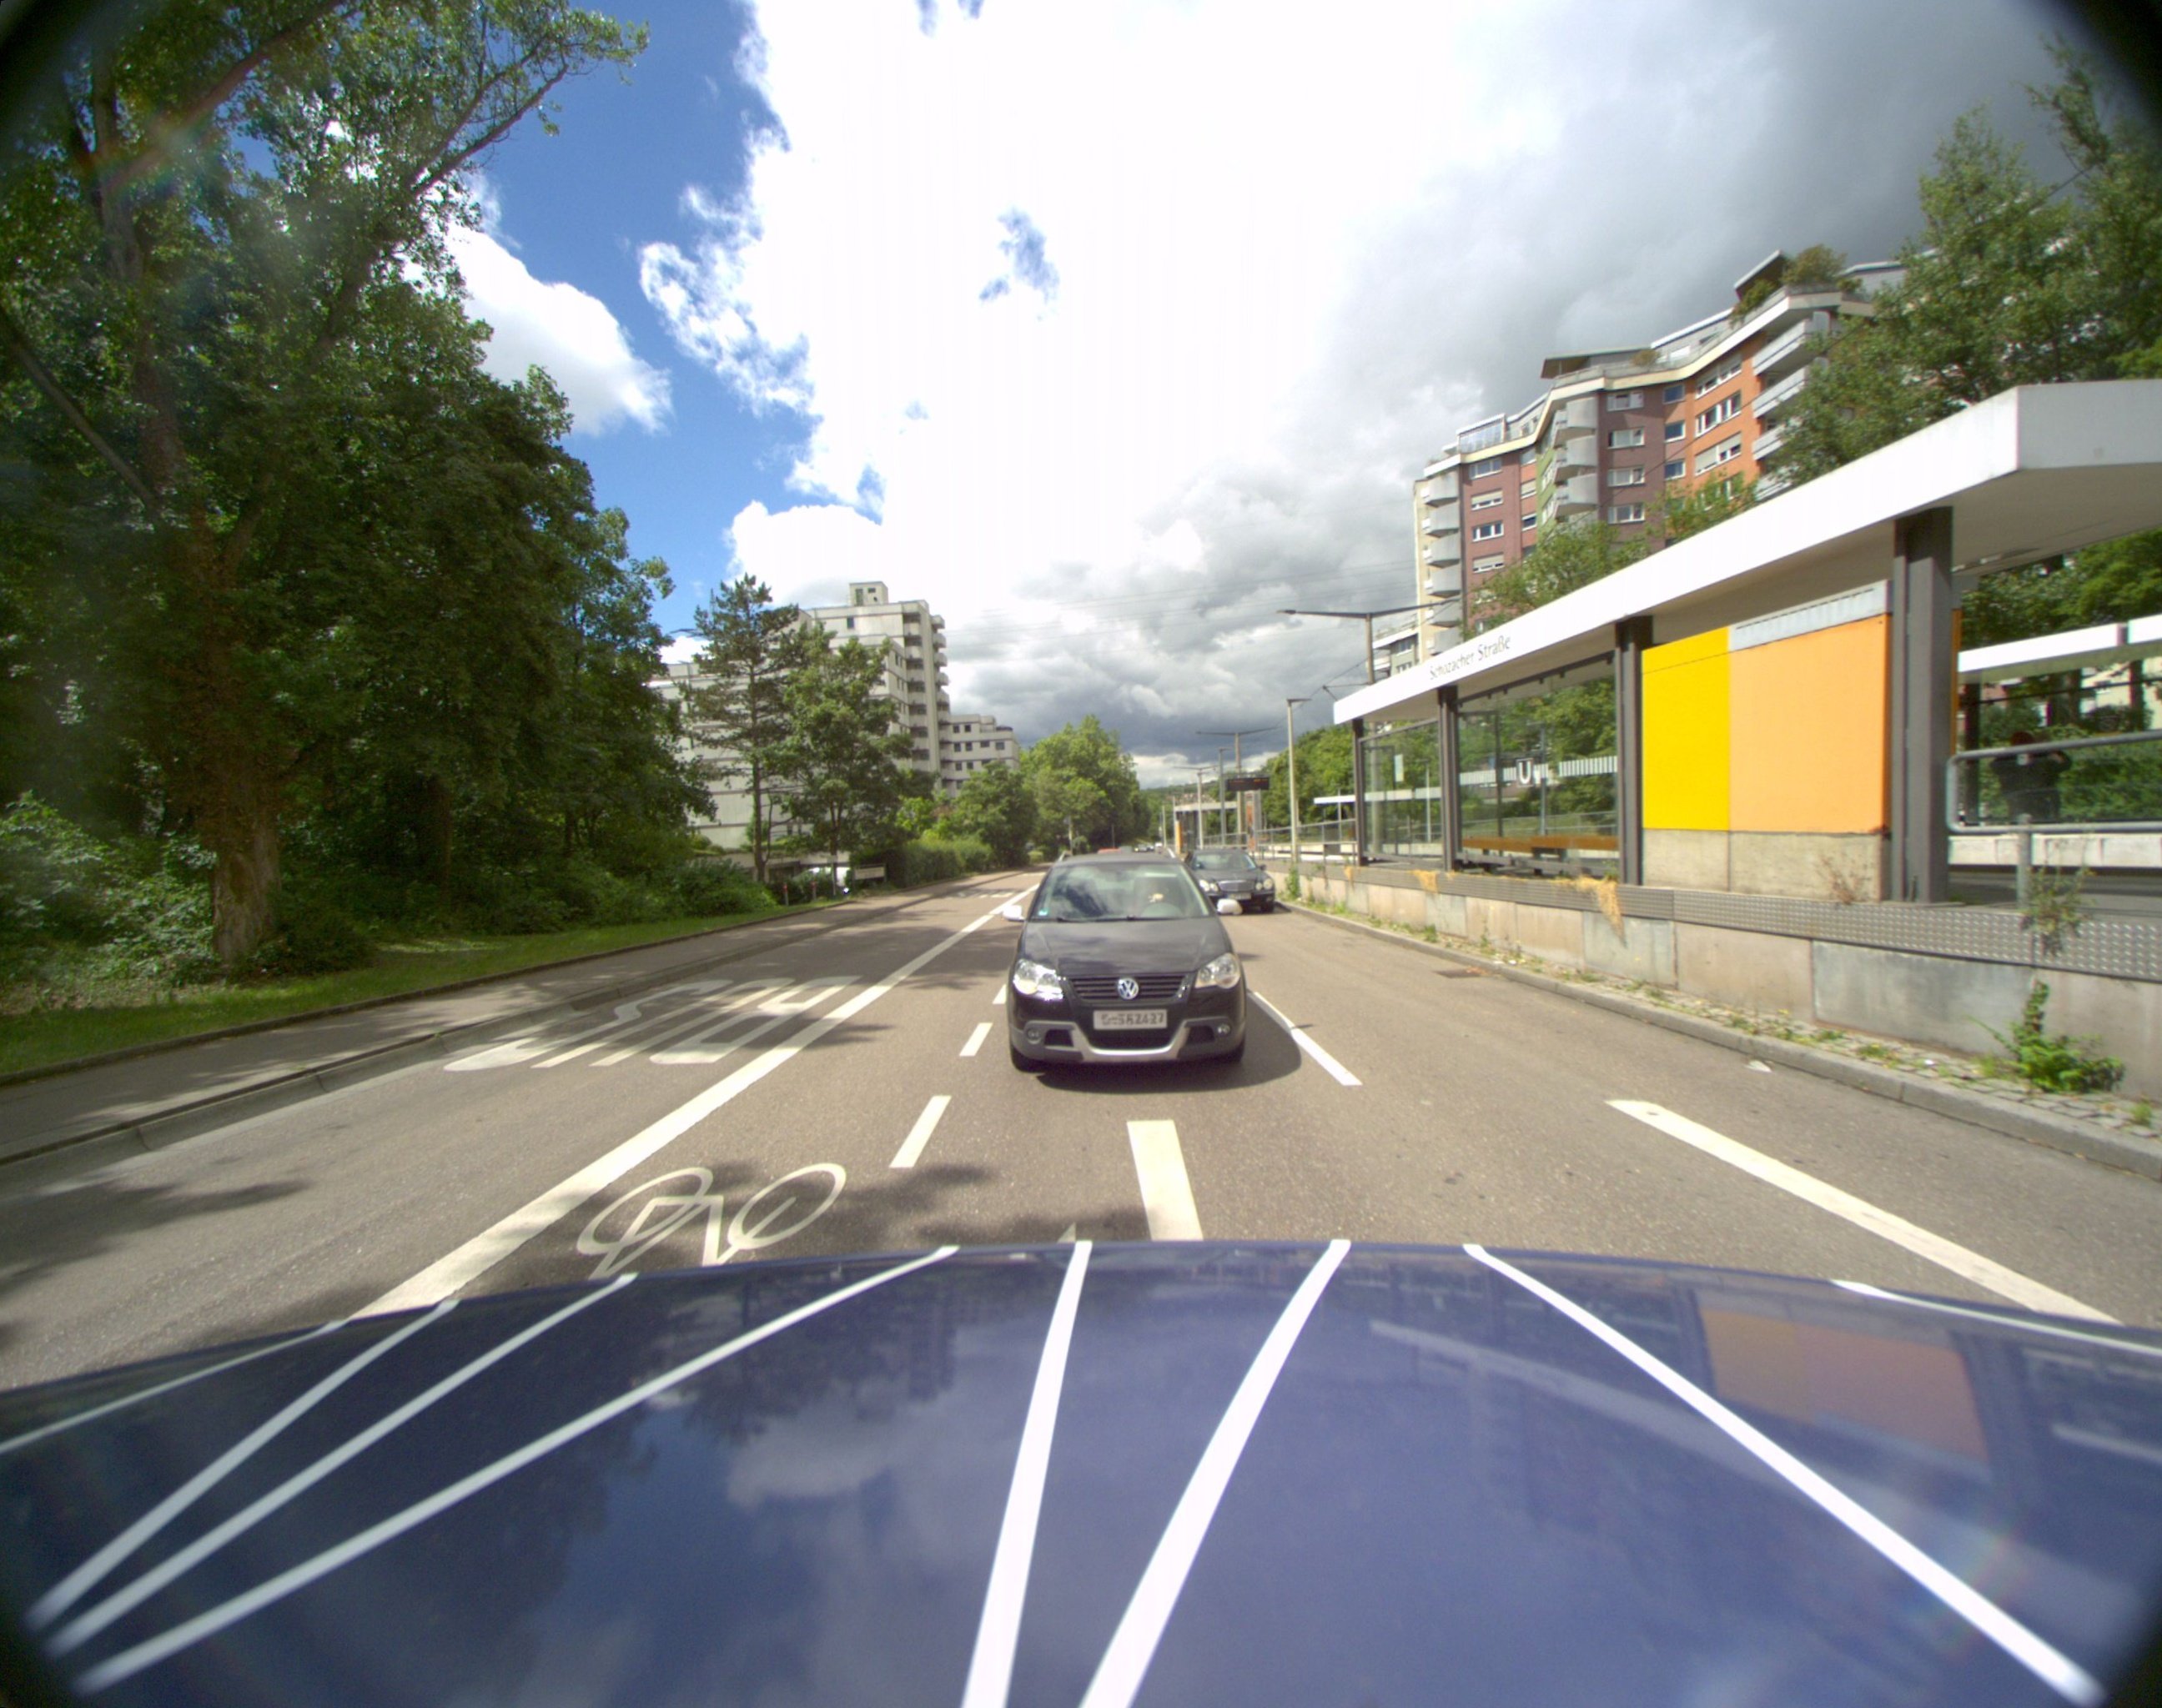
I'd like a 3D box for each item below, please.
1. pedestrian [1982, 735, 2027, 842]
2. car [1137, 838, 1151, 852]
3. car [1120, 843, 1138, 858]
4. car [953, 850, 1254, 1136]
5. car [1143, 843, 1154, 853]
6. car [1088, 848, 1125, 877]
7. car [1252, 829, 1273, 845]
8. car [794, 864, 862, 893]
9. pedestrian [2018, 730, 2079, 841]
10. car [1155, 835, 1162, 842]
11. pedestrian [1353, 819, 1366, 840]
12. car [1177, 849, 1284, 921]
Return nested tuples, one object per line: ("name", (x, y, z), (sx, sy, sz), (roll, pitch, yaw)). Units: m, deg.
("pedestrian", (15.086, -1.058, 12.418), (0.425, 1.703, 0.354), (-1, 2, 43))
("car", (9.409, -1.342, 113.207), (1.997, 2.002, 4.001), (-2, 2, 7))
("car", (4.856, -0.390, 76.082), (1.643, 1.395, 3.708), (-2, 1, 5))
("car", (0.223, 0.786, 6.299), (1.641, 1.521, 4.000), (-2, 1, 3))
("car", (12.170, -1.130, 136.970), (1.801, 1.698, 4.000), (-3, 2, 4))
("car", (1.395, 0.418, 40.720), (1.821, 1.377, 4.065), (-2, 1, 2))
("car", (23.244, -2.183, 97.367), (1.737, 2.002, 4.000), (-2, 1, 2))
("car", (-19.725, 1.879, 59.404), (4.543, 2.002, 2.001), (-2, 1, 7))
("pedestrian", (15.438, -1.077, 12.132), (0.550, 1.703, 0.387), (-1, 2, 44))
("car", (19.629, -3.992, 192.396), (1.518, 1.674, 4.000), (-2, 1, 3))
("pedestrian", (16.546, -1.456, 45.163), (0.537, 1.270, 0.561), (-2, 1, -8))
("car", (3.377, 0.639, 17.909), (1.821, 1.377, 4.065), (-2, 1, 2))
